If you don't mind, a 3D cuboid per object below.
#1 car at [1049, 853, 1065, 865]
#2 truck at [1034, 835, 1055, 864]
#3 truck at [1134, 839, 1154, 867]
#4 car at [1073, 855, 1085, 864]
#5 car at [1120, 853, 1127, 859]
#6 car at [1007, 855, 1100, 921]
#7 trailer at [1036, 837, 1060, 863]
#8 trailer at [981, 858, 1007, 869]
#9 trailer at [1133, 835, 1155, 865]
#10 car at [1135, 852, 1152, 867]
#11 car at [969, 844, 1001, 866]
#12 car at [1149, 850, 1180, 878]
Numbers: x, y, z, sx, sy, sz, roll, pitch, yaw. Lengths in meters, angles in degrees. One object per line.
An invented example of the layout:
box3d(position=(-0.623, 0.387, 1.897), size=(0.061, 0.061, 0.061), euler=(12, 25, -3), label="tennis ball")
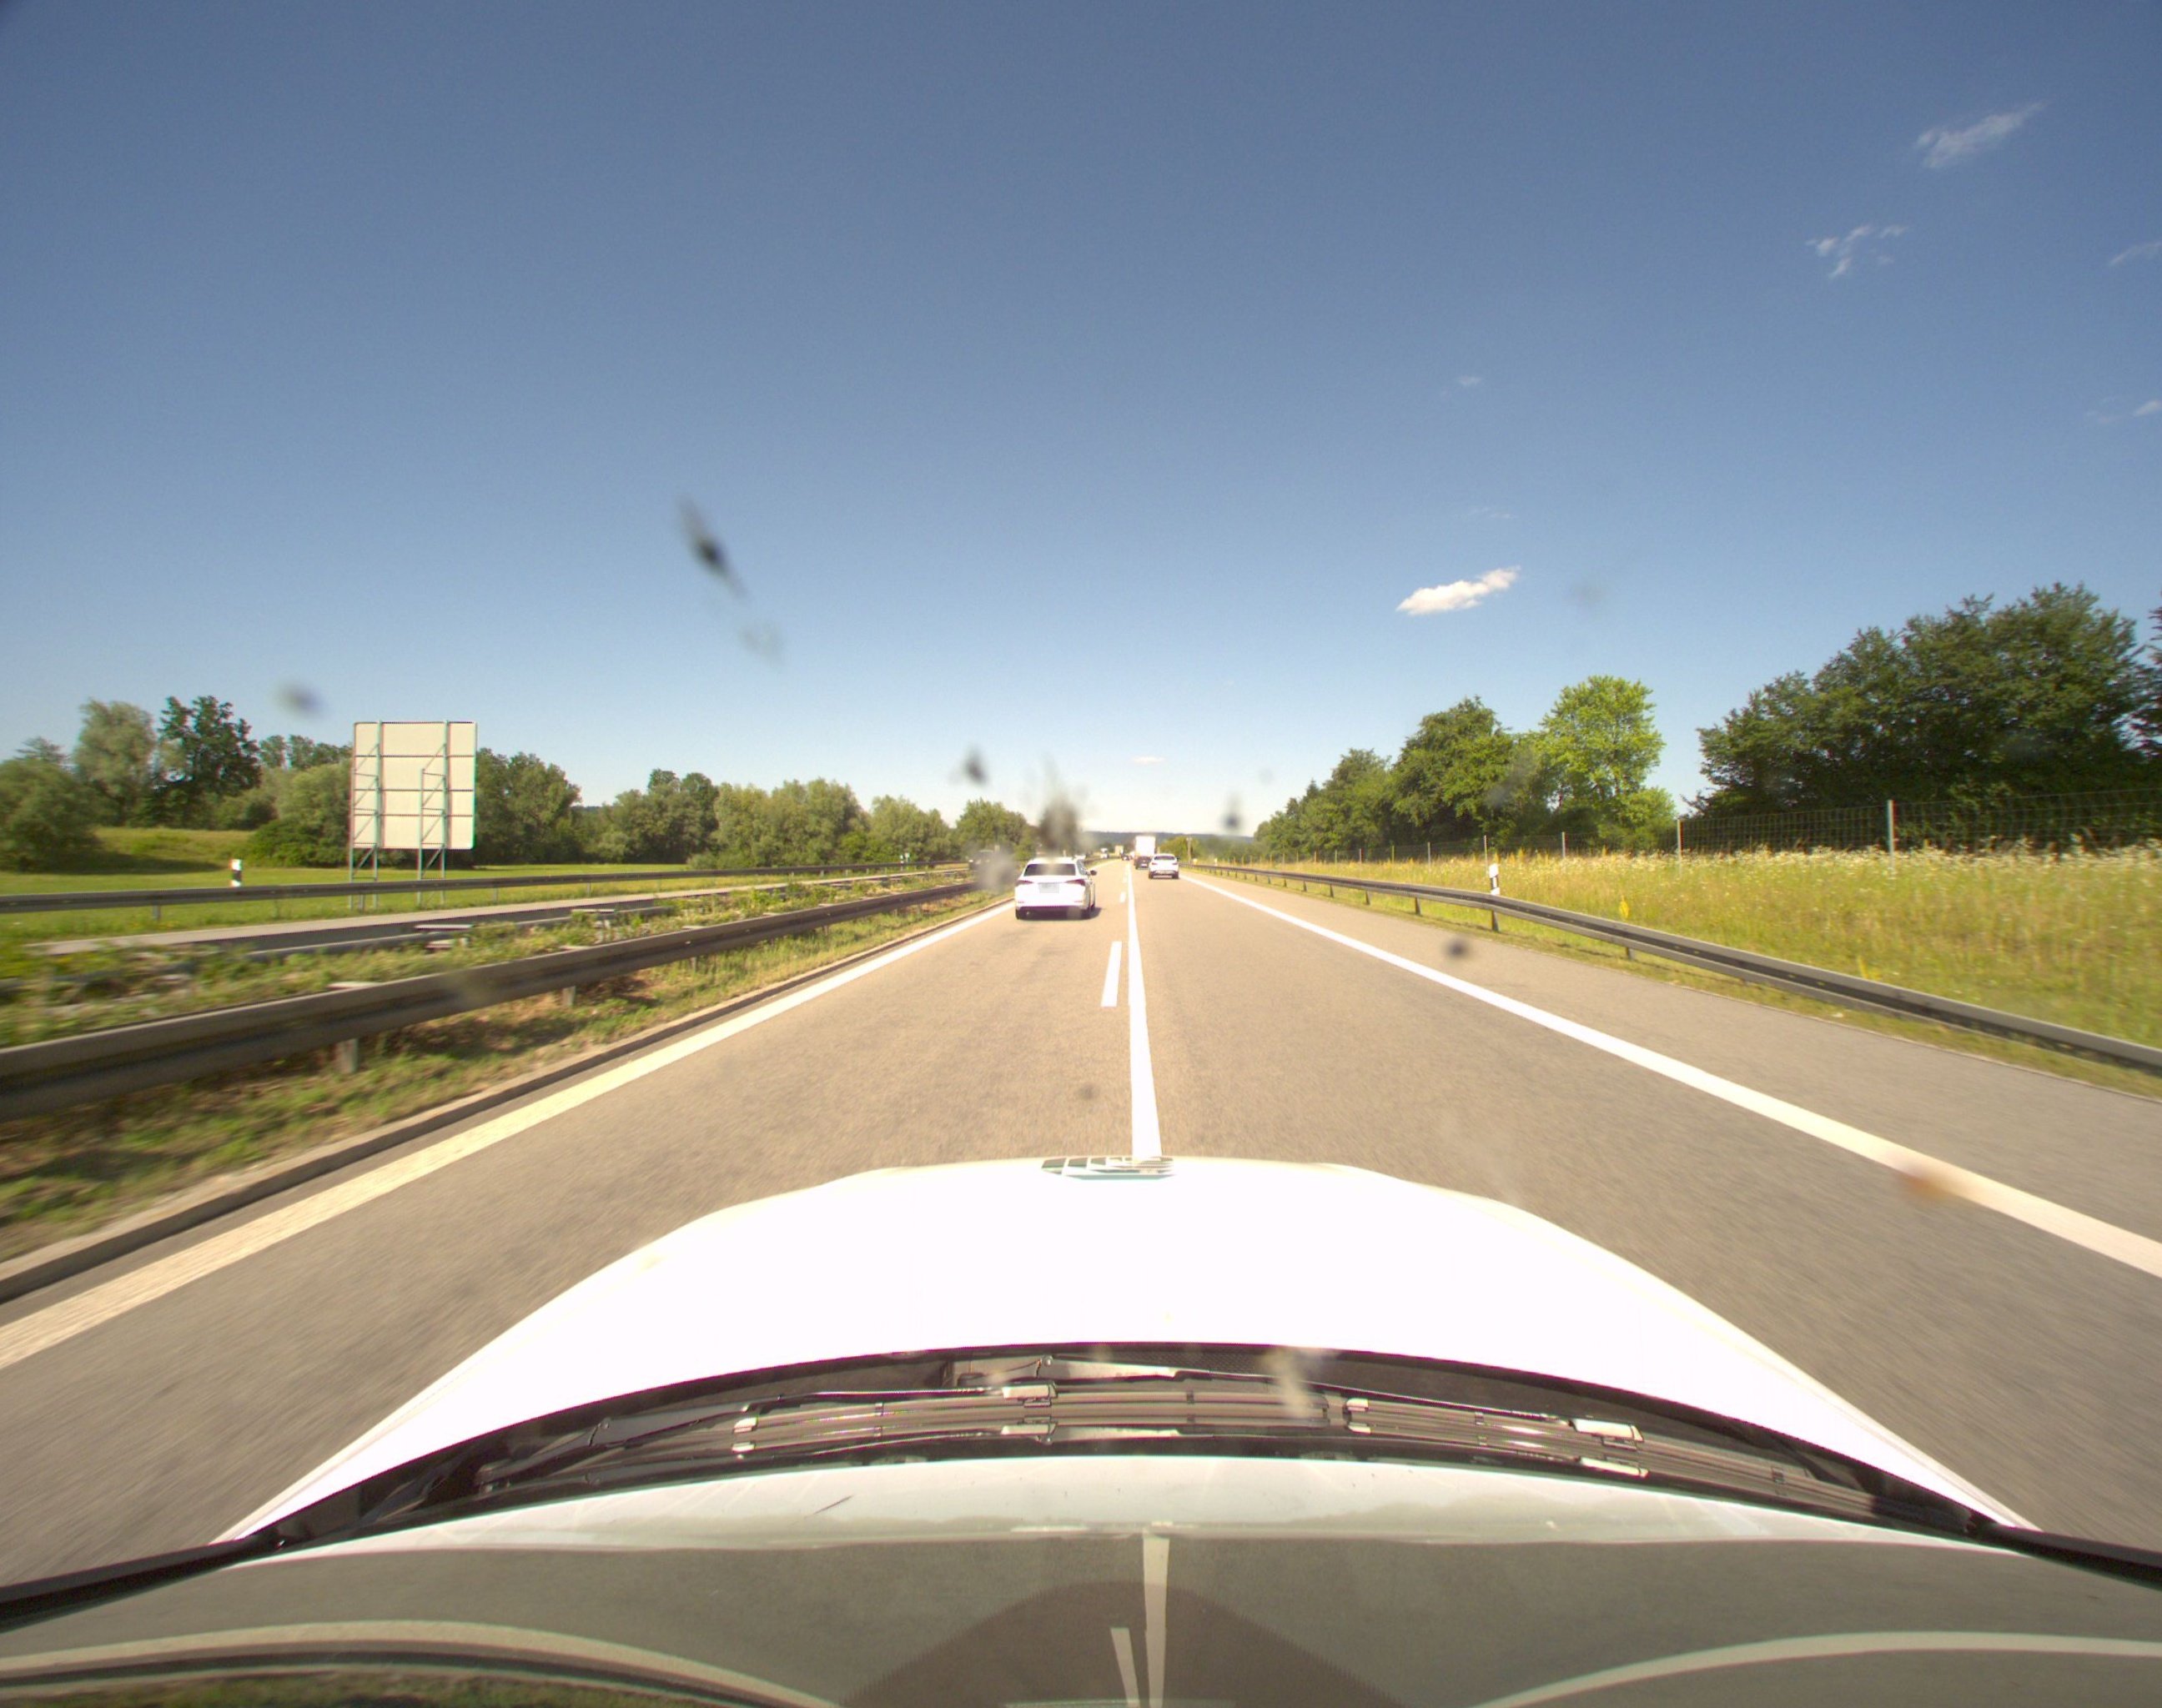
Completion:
box3d(position=(-3.026, 0.617, 103.805), size=(1.674, 1.459, 4.928), euler=(-2, 0, 2), label="car")
box3d(position=(-5.722, -0.695, 127.914), size=(2.729, 4.302, 6.338), euler=(0, 0, 2), label="truck")
box3d(position=(9.258, -0.108, 120.082), size=(2.828, 3.966, 7.051), euler=(0, 0, 4), label="truck")
box3d(position=(-0.285, 1.029, 150.358), size=(1.985, 1.665, 4.637), euler=(-1, 0, 3), label="car")
box3d(position=(10.769, 0.527, 206.387), size=(1.764, 1.421, 4.499), euler=(2, 0, 3), label="car")
box3d(position=(-0.543, 0.767, 20.730), size=(1.832, 1.421, 5.260), euler=(-1, 0, 4), label="car")
box3d(position=(-5.375, -0.624, 134.881), size=(2.776, 4.160, 14.403), euler=(0, 0, 3), label="trailer")
box3d(position=(-8.006, 0.821, 74.851), size=(1.735, 0.936, 4.023), euler=(0, 0, 3), label="trailer")
box3d(position=(8.753, -0.523, 113.354), size=(2.805, 3.966, 14.177), euler=(0, 0, 4), label="trailer")
box3d(position=(6.469, 0.587, 84.774), size=(1.658, 1.454, 4.549), euler=(2, 0, 4), label="car")
box3d(position=(-8.266, 0.106, 70.359), size=(1.842, 1.803, 4.875), euler=(-2, 0, 3), label="car")
box3d(position=(5.152, 0.575, 50.605), size=(1.677, 1.496, 4.992), euler=(3, 1, 3), label="car")
